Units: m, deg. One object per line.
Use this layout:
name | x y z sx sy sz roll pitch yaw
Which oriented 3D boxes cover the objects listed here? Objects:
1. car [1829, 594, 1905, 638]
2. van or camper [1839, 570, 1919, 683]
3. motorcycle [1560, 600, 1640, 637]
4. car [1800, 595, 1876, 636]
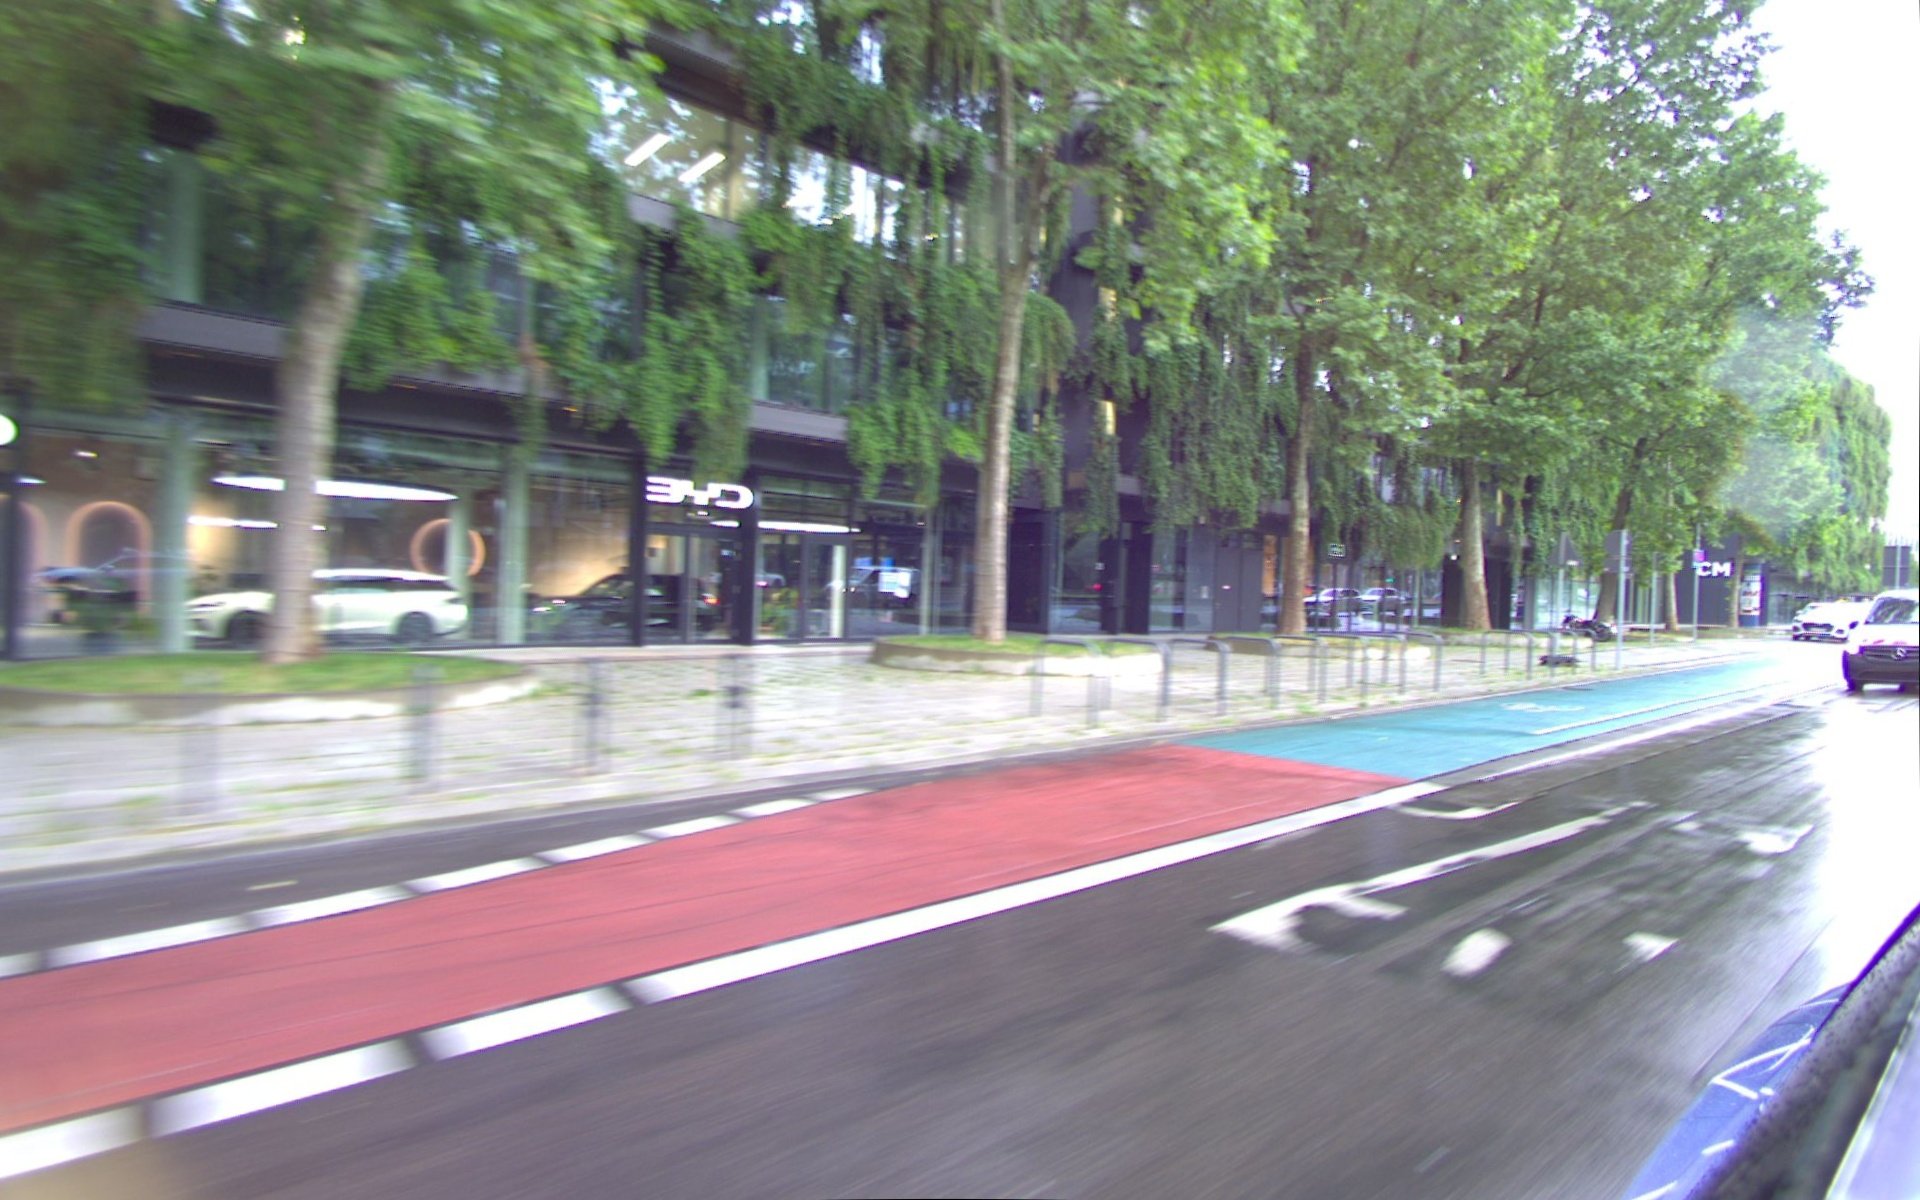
car | 42.611 0.748 47.493 5.002 1.861 1.848 1 2 -39
van or camper | 18.630 0.496 18.853 5.148 1.937 2.001 1 0 -33
motorcycle | 23.647 0.672 37.431 1.034 1.286 2.311 1 -1 -41
car | 37.989 0.651 43.752 4.703 1.653 1.846 1 1 -41
